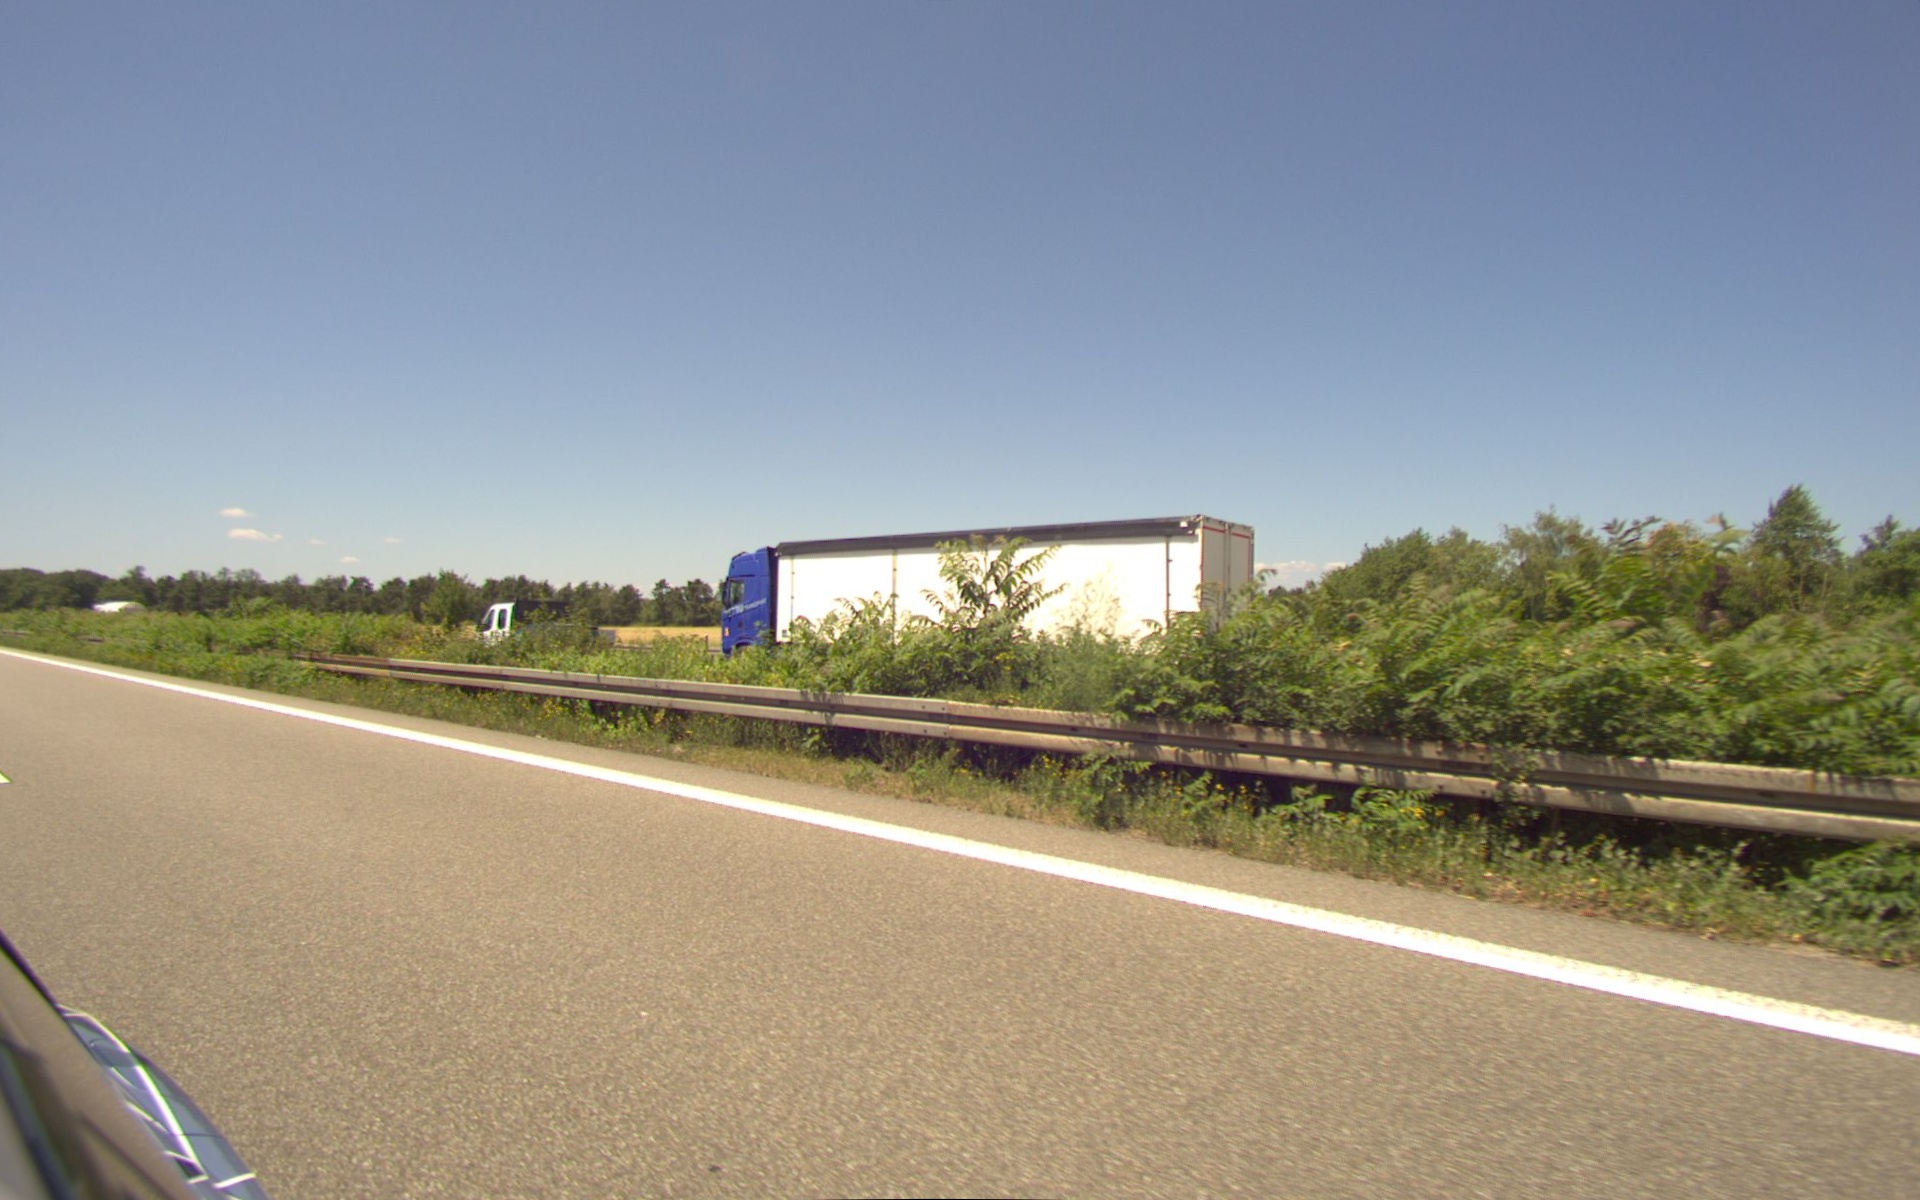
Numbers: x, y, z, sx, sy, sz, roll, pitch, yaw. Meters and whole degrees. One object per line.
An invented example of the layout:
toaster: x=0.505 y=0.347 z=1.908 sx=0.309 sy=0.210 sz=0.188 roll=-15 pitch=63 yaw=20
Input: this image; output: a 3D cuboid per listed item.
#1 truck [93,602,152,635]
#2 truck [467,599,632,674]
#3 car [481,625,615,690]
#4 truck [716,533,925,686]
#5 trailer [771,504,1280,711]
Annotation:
truck: x=-84.528 y=1.802 z=102.035 sx=13.115 sy=3.147 sz=2.542 roll=-1 pitch=0 yaw=41
truck: x=-13.287 y=1.100 z=32.494 sx=6.570 sy=2.169 sz=2.224 roll=-1 pitch=0 yaw=41
car: x=-10.429 y=1.385 z=25.499 sx=3.686 sy=1.431 sz=1.662 roll=-1 pitch=0 yaw=41
truck: x=-4.256 y=0.257 z=30.215 sx=5.915 sy=4.089 sz=3.027 roll=-1 pitch=0 yaw=41
trailer: x=0.796 y=0.192 z=25.742 sx=13.950 sy=4.089 sz=3.026 roll=-1 pitch=0 yaw=41
